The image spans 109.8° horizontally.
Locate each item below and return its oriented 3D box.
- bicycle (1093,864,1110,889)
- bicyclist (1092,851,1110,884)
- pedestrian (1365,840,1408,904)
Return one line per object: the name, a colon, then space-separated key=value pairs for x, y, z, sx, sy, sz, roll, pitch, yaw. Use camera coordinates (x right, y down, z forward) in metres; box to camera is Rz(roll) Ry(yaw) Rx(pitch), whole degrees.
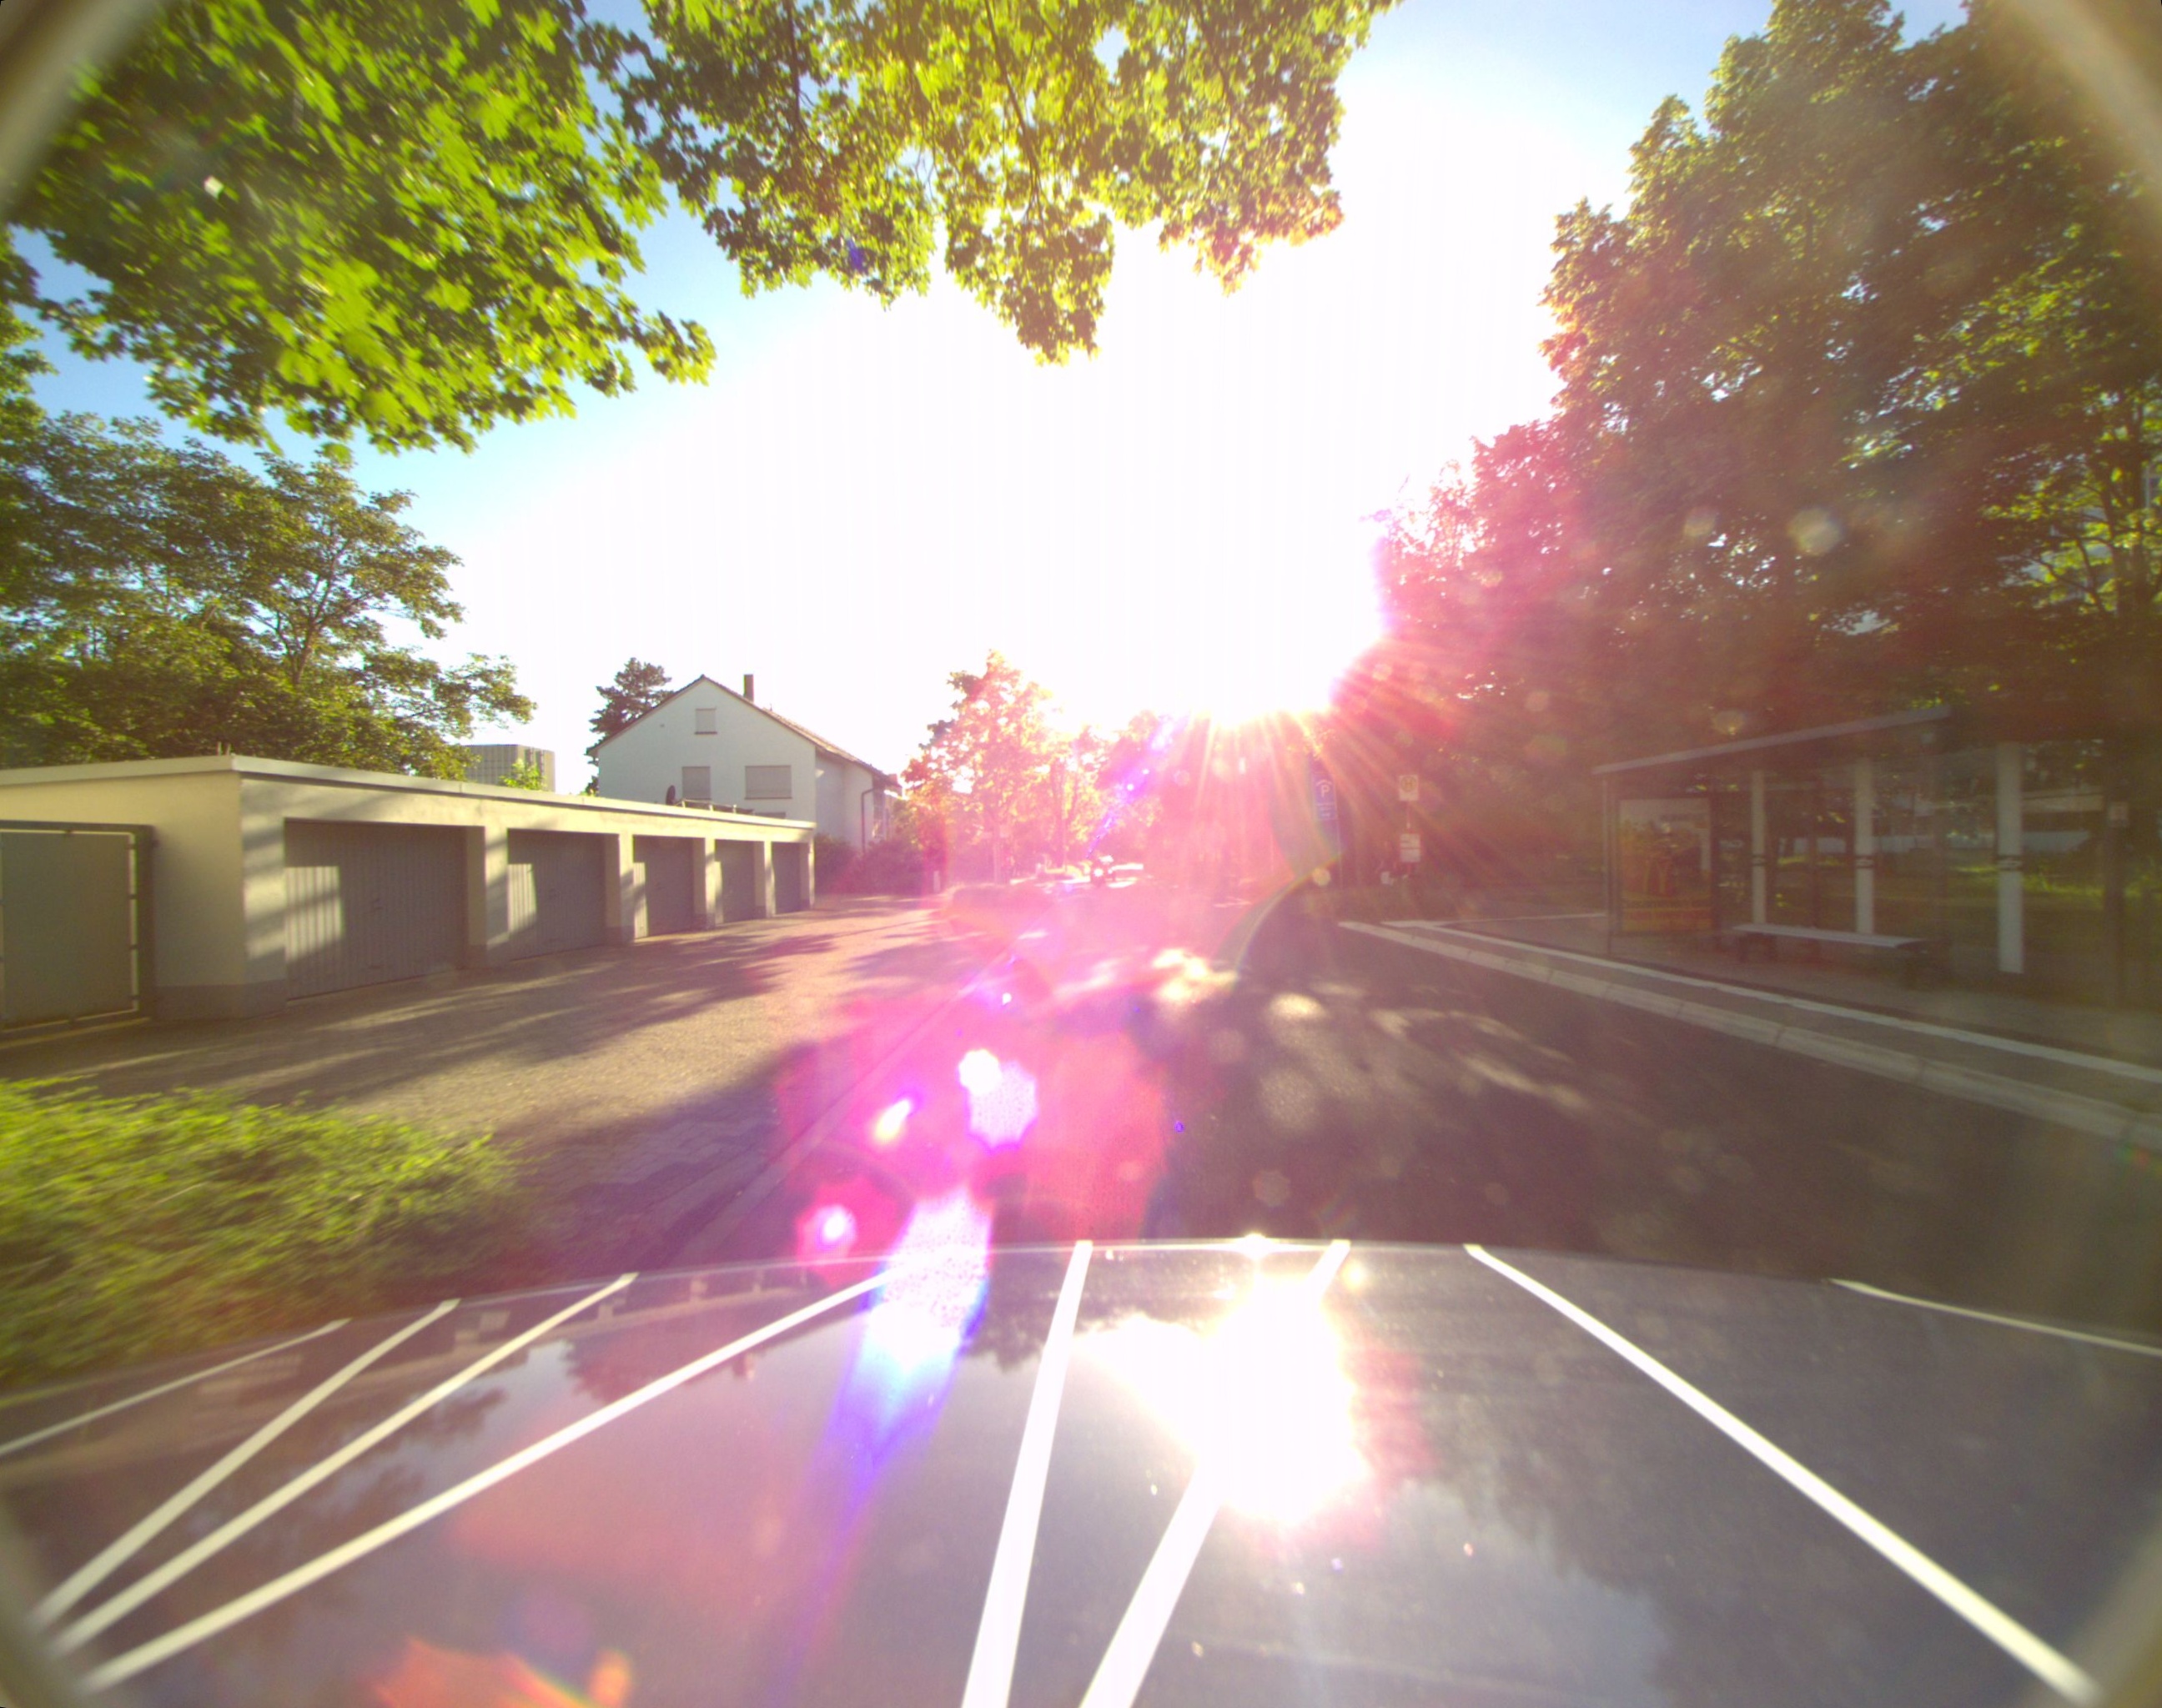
bicycle: x=1.049 y=1.155 z=39.004 sx=0.829 sy=1.182 sz=2.302 roll=-2 pitch=0 yaw=1
bicyclist: x=1.030 y=0.683 z=38.837 sx=0.819 sy=1.635 sz=0.744 roll=-3 pitch=1 yaw=1
pedestrian: x=8.988 y=0.519 z=22.378 sx=0.905 sy=1.810 sz=0.720 roll=-2 pitch=0 yaw=-1
